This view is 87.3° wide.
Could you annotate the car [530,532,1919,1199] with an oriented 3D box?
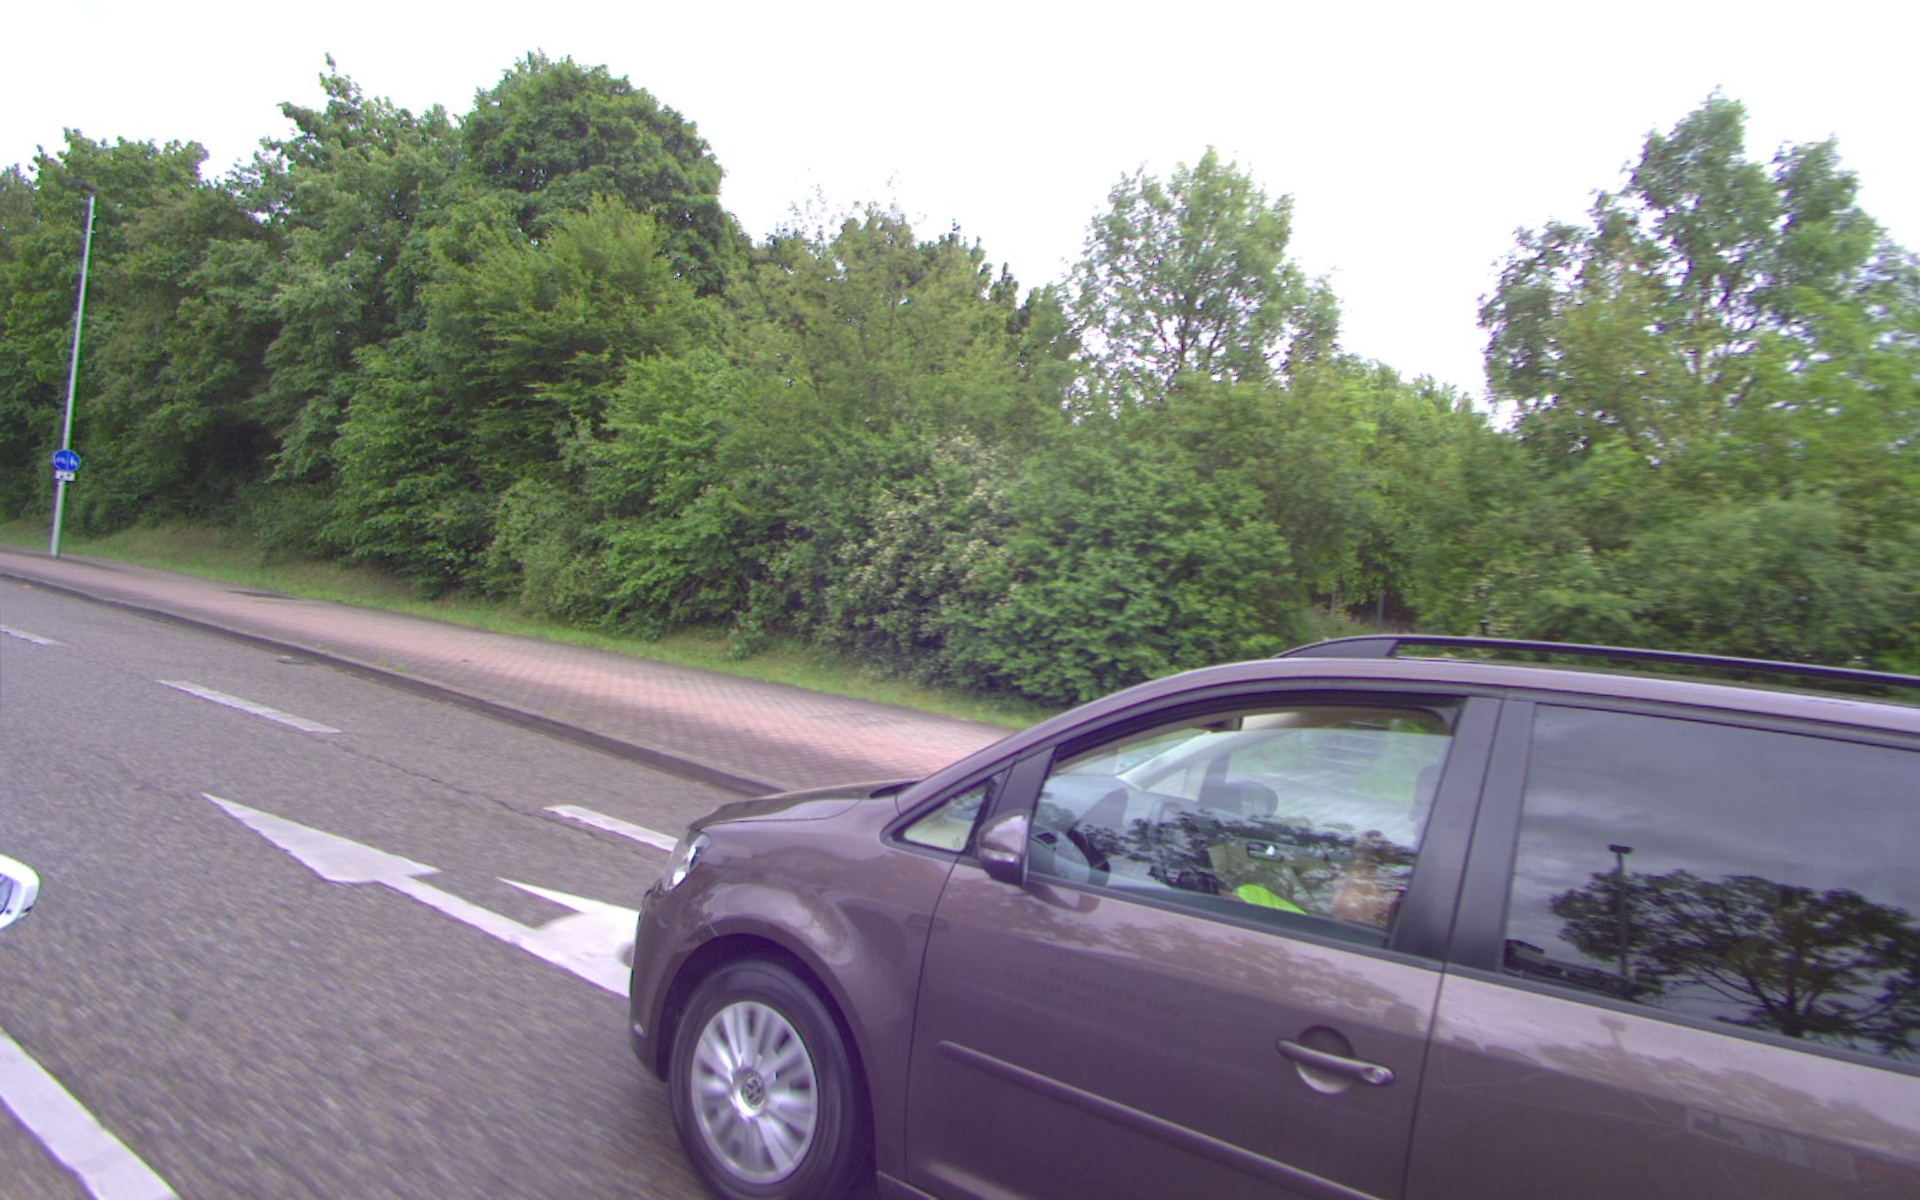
[{"bbox_3d":[1.034,0.884,2.536,4.062,1.615,1.717,6,-2,31],"label":"car"}]
